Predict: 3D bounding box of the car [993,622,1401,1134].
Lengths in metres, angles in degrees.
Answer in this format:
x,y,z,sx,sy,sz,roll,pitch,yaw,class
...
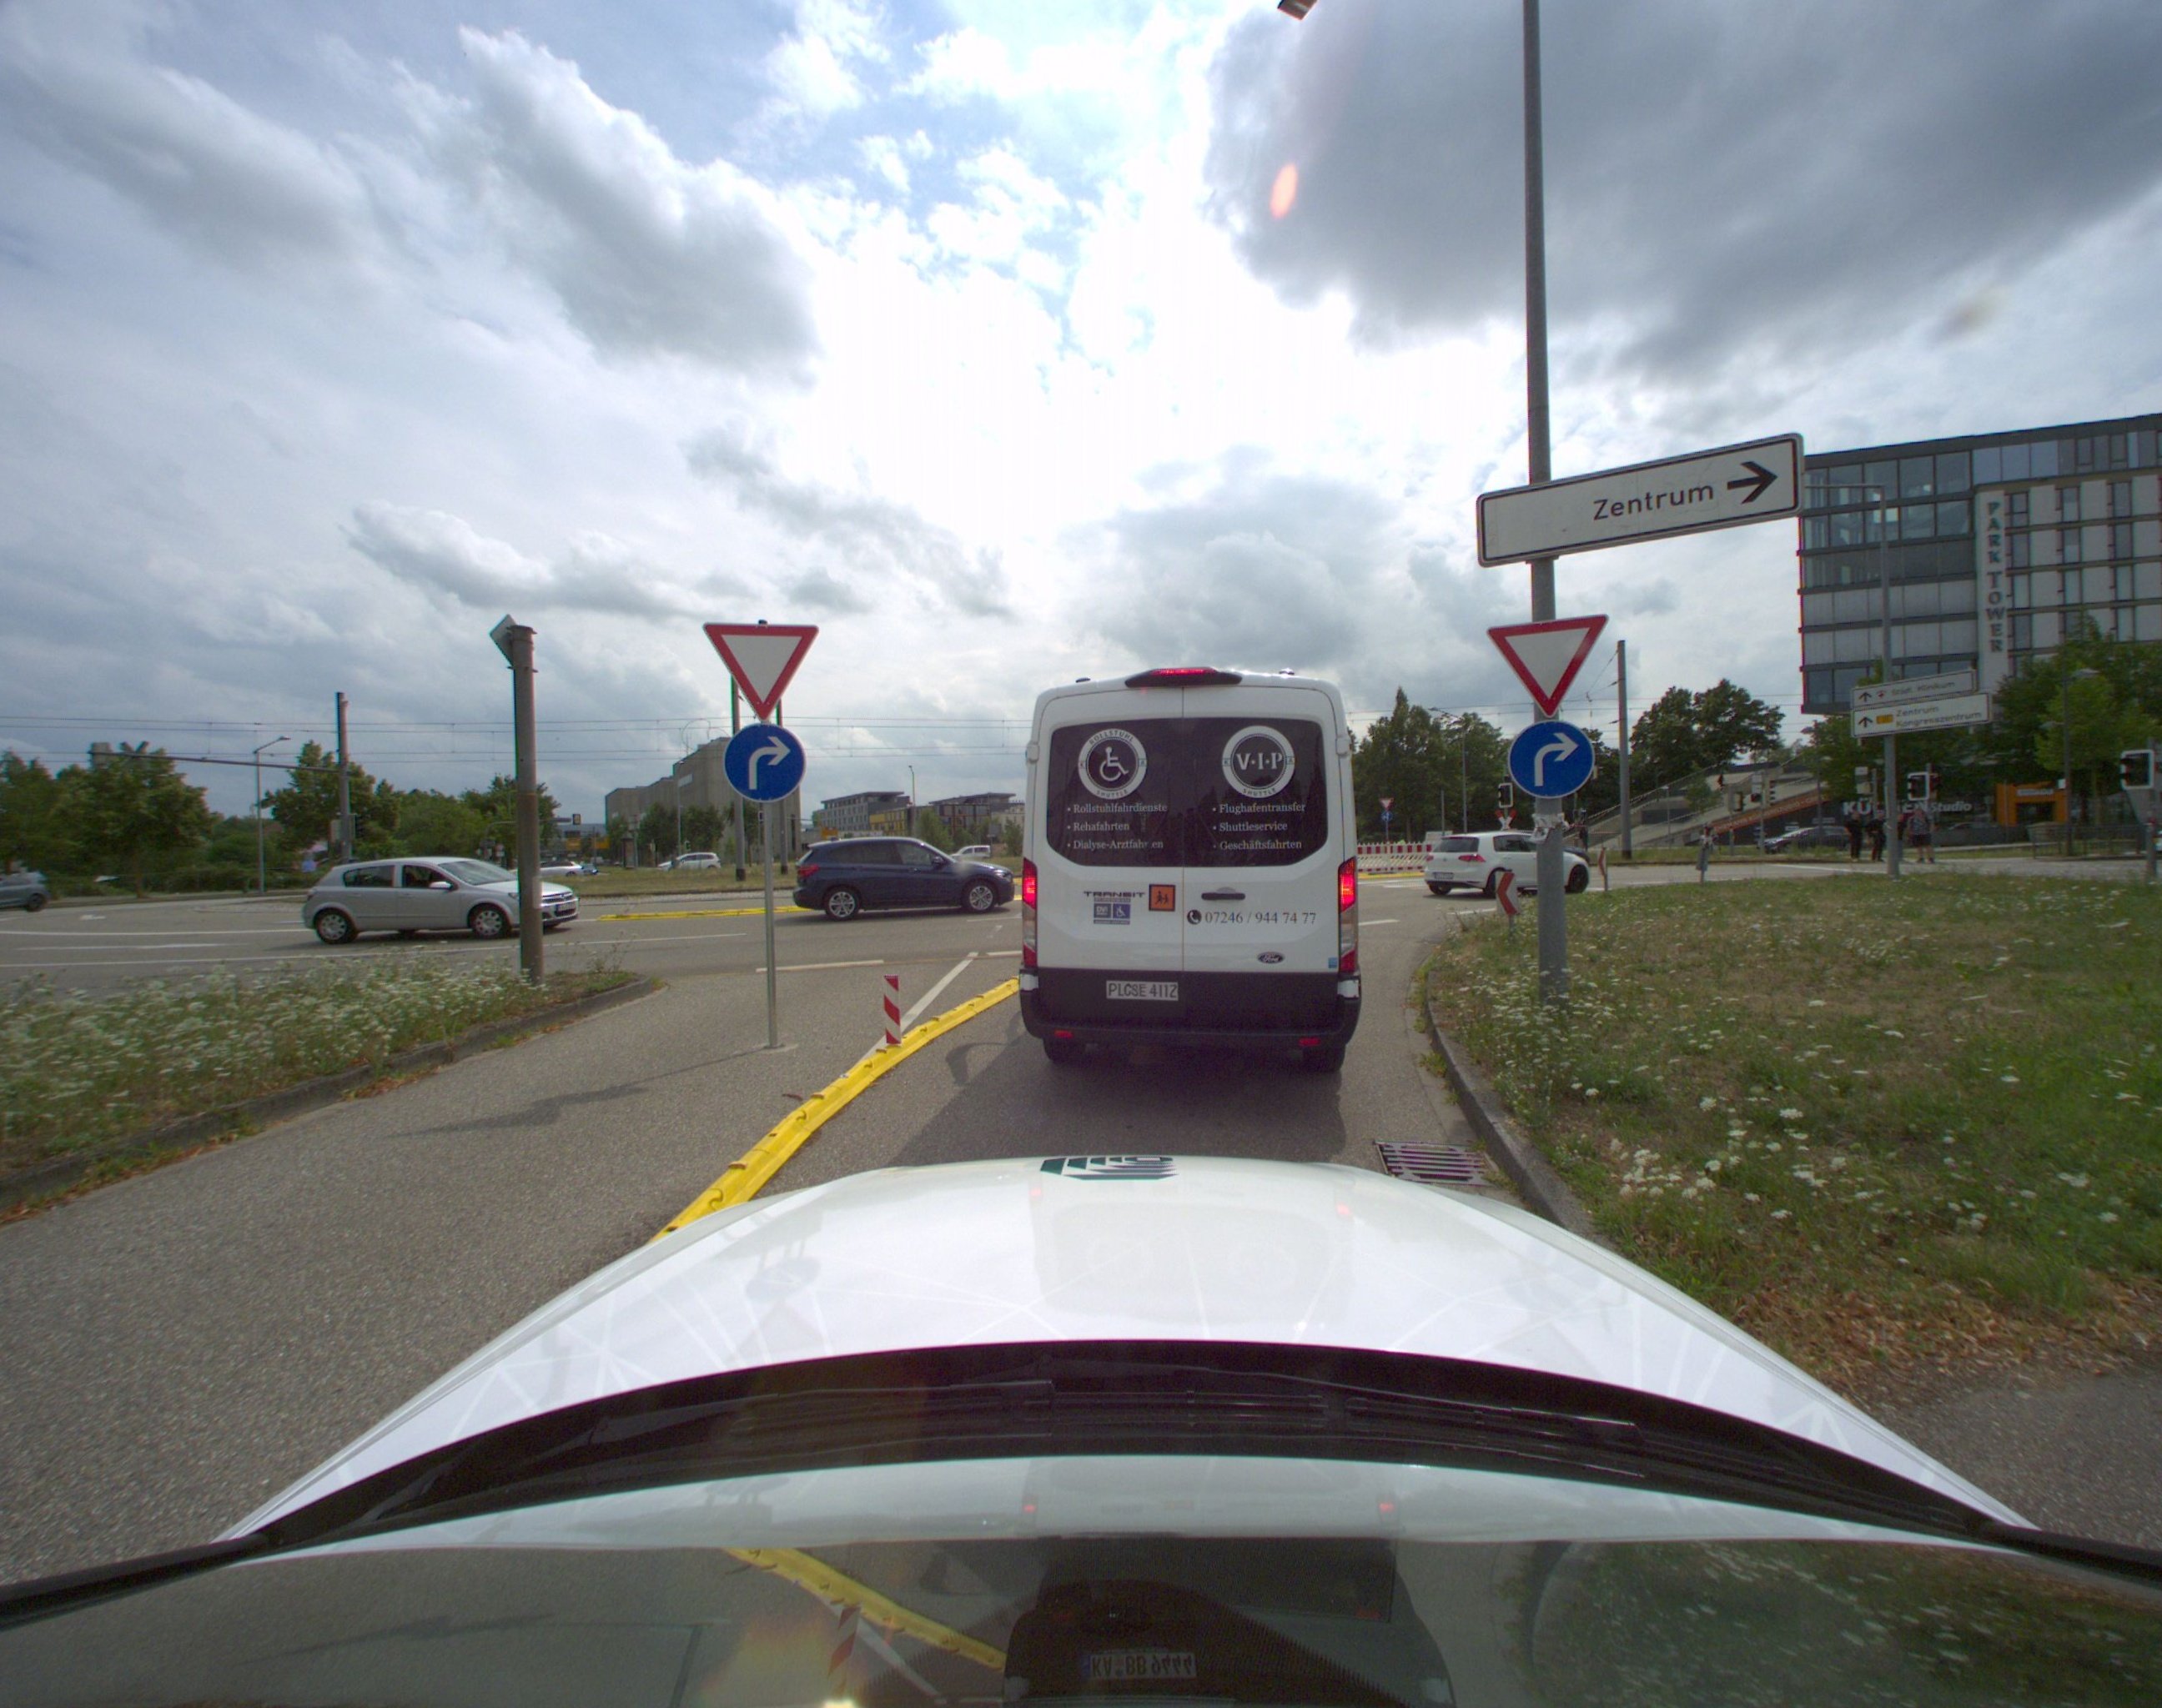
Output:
x,y,z,sx,sy,sz,roll,pitch,yaw,class
0.991,0.123,7.212,2.114,2.697,5.644,-2,0,8,car

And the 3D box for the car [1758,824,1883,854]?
x,y,z,sx,sy,sz,roll,pitch,yaw,class
39.719,-0.813,43.848,4.689,1.458,1.856,-1,1,14,car

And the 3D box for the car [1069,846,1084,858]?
x,y,z,sx,sy,sz,roll,pitch,yaw,class
-0.634,-0.235,103.155,1.822,1.463,3.998,-2,0,-1,car

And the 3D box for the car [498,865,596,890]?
x,y,z,sx,sy,sz,roll,pitch,yaw,class
-36.355,1.583,55.605,1.974,1.482,5.217,-1,1,31,car

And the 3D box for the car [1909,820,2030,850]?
x,y,z,sx,sy,sz,roll,pitch,yaw,class
46.594,-0.991,42.805,3.958,1.458,1.856,-1,1,14,car

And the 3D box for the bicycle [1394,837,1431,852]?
x,y,z,sx,sy,sz,roll,pitch,yaw,class
22.422,-0.637,55.079,2.176,0.938,0.618,-1,-1,40,bicycle

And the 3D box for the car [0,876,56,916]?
x,y,z,sx,sy,sz,roll,pitch,yaw,class
-44.871,1.762,32.824,2.060,1.551,4.454,-2,1,-14,car

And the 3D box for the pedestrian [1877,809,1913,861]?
x,y,z,sx,sy,sz,roll,pitch,yaw,class
28.288,-0.663,28.314,0.684,1.781,0.554,-1,1,7,pedestrian

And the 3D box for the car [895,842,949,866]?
x,y,z,sx,sy,sz,roll,pitch,yaw,class
-13.516,0.010,69.128,3.955,2.014,2.009,-1,-1,18,car

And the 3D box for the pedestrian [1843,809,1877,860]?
x,y,z,sx,sy,sz,roll,pitch,yaw,class
27.647,-0.699,28.911,0.684,1.781,0.554,-1,1,7,pedestrian

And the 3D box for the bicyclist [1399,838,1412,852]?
x,y,z,sx,sy,sz,roll,pitch,yaw,class
22.072,-0.603,55.366,0.650,0.884,0.611,-2,-1,39,bicyclist

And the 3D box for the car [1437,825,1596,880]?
x,y,z,sx,sy,sz,roll,pitch,yaw,class
13.320,-0.073,24.976,4.106,1.497,1.794,-2,1,-12,car

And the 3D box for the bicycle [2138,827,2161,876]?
x,y,z,sx,sy,sz,roll,pitch,yaw,class
27.185,-0.086,20.194,0.781,1.168,2.054,-2,0,41,bicycle

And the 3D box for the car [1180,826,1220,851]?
x,y,z,sx,sy,sz,roll,pitch,yaw,class
11.237,-1.418,77.164,2.031,2.279,4.133,-2,1,-19,car

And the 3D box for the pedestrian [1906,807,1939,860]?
x,y,z,sx,sy,sz,roll,pitch,yaw,class
28.979,-0.712,28.054,0.575,1.781,0.554,-1,1,7,pedestrian

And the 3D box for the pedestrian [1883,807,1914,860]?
x,y,z,sx,sy,sz,roll,pitch,yaw,class
28.924,-0.716,28.809,0.526,1.862,0.554,-1,1,7,pedestrian

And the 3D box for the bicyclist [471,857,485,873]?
x,y,z,sx,sy,sz,roll,pitch,yaw,class
-51.918,0.939,70.135,0.853,1.409,0.678,-2,1,36,bicyclist

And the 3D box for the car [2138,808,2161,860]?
x,y,z,sx,sy,sz,roll,pitch,yaw,class
35.675,-0.690,24.407,4.705,1.618,2.007,-2,0,11,car

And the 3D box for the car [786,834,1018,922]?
x,y,z,sx,sy,sz,roll,pitch,yaw,class
-3.634,0.425,16.637,4.369,1.534,1.722,-2,1,-18,car

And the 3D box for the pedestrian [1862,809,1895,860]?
x,y,z,sx,sy,sz,roll,pitch,yaw,class
28.319,-0.676,28.915,0.628,1.781,0.554,-1,1,7,pedestrian

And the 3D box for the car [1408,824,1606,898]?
x,y,z,sx,sy,sz,roll,pitch,yaw,class
9.911,0.118,18.950,4.265,1.497,1.788,-2,1,-24,car

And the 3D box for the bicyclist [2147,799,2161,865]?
x,y,z,sx,sy,sz,roll,pitch,yaw,class
27.001,-0.562,19.986,0.781,1.627,1.055,-2,0,41,bicyclist

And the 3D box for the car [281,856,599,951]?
x,y,z,sx,sy,sz,roll,pitch,yaw,class
-11.535,0.848,14.898,4.235,1.462,1.829,-2,1,-2,car

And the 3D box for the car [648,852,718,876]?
x,y,z,sx,sy,sz,roll,pitch,yaw,class
-30.394,0.728,62.279,4.381,1.665,1.914,-2,1,-45,car

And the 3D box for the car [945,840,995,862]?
x,y,z,sx,sy,sz,roll,pitch,yaw,class
-10.712,-0.314,78.740,4.367,2.014,1.984,-1,-1,-24,car
